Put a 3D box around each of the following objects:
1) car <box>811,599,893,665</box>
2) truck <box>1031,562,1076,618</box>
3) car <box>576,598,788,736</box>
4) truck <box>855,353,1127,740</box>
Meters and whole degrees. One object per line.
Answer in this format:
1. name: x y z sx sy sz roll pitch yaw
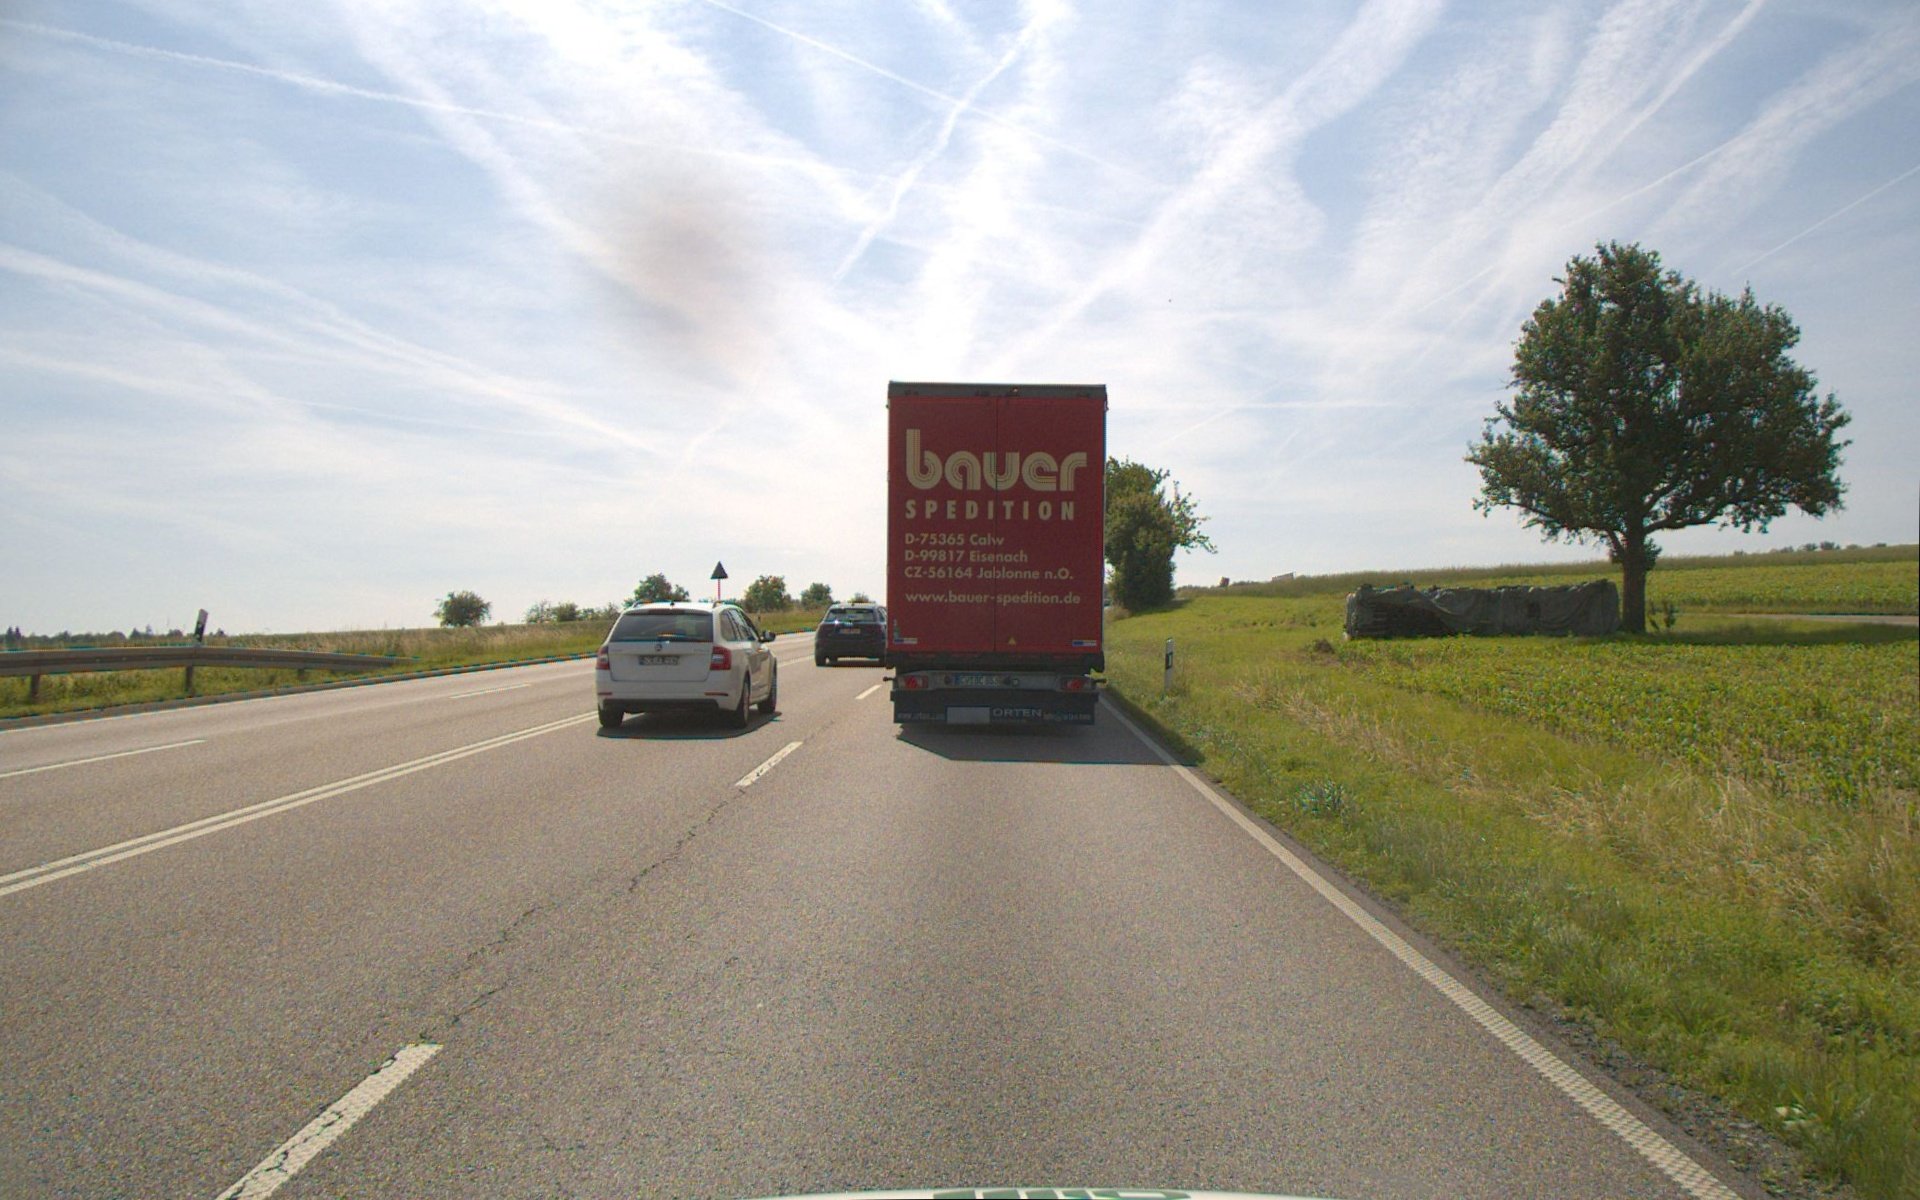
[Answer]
1. car: -2.566 0.743 40.311 1.670 1.498 4.811 1 0 0
2. truck: 7.289 -0.703 127.172 2.982 3.979 18.408 0 0 5
3. car: -3.324 0.745 20.709 1.783 1.498 4.789 1 0 1
4. truck: 0.568 -0.562 26.731 2.945 4.253 16.717 1 0 2
